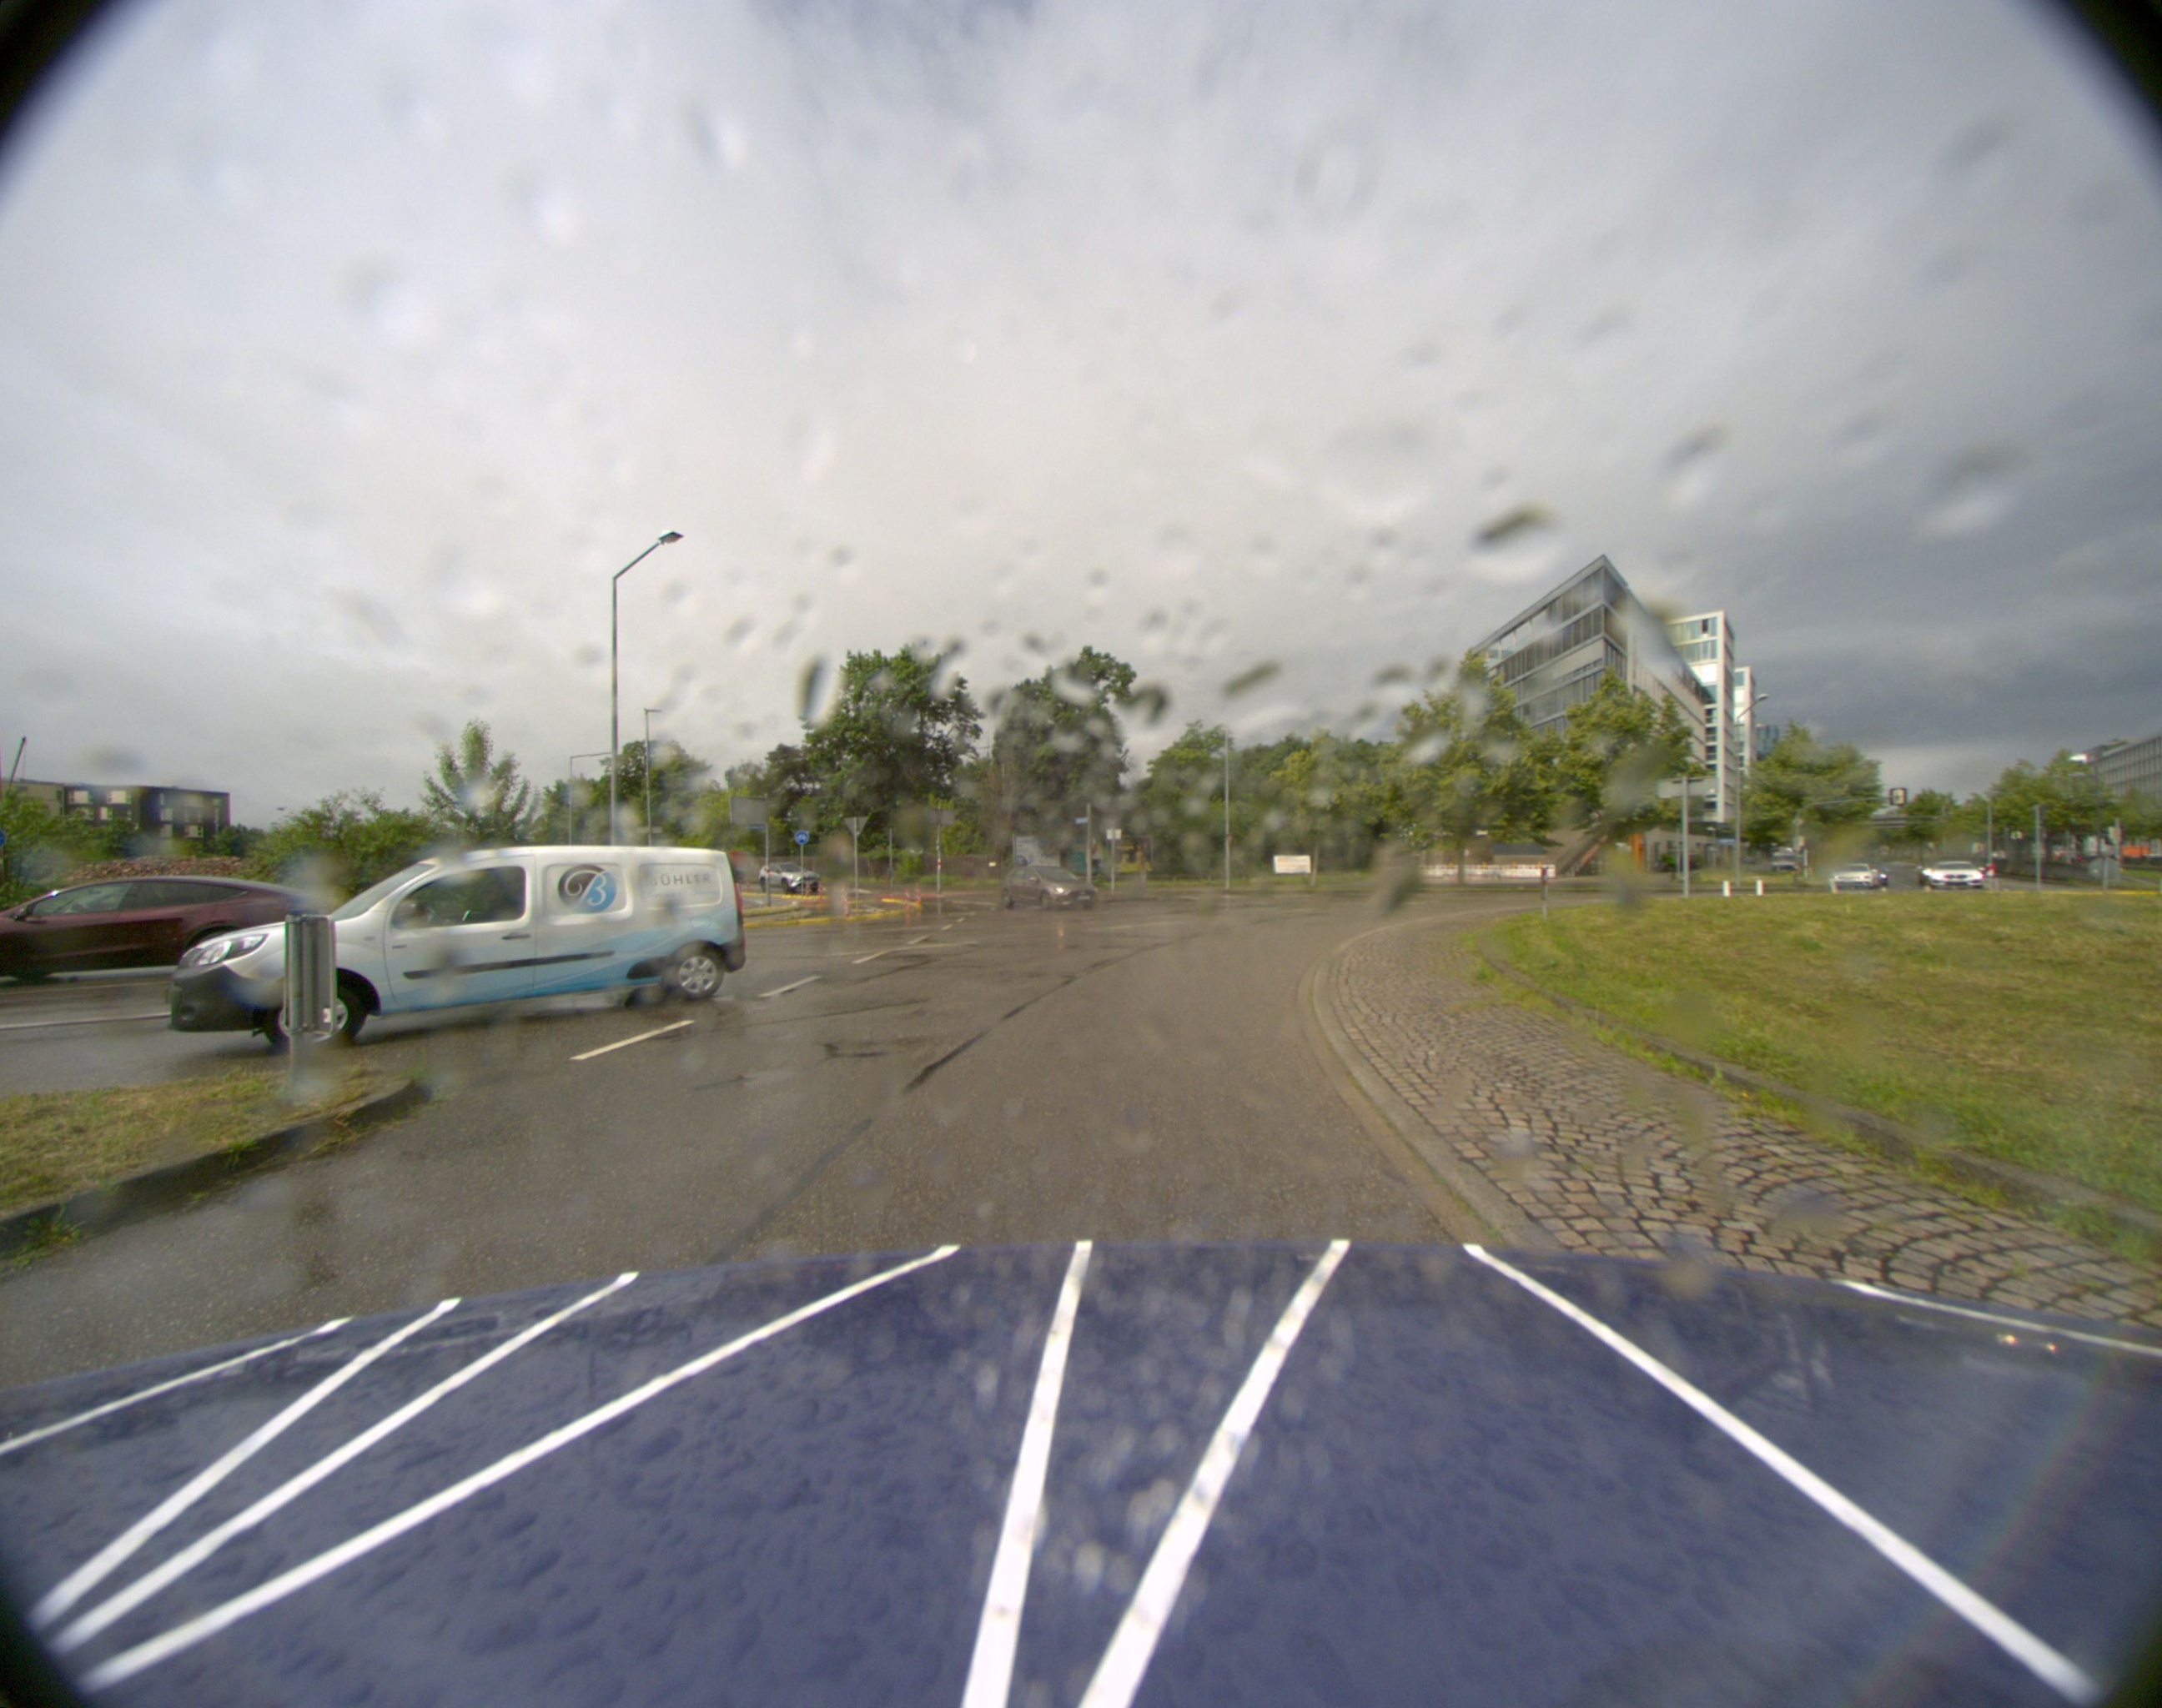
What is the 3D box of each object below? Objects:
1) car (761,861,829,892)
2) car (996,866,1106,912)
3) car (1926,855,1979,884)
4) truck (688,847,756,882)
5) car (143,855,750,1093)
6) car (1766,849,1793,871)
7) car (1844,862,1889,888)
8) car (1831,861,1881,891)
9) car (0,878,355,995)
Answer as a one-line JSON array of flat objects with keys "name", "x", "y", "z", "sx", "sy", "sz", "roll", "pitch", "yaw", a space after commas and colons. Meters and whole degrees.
[{"name": "car", "x": -16.151, "y": 1.231, "z": 42.806, "sx": 1.879, "sy": 1.653, "sz": 4.470, "roll": -2, "pitch": 1, "yaw": -45}, {"name": "car", "x": -1.113, "y": 1.152, "z": 26.056, "sx": 1.738, "sy": 1.405, "sz": 4.117, "roll": -2, "pitch": 0, "yaw": -36}, {"name": "car", "x": 47.468, "y": 0.831, "z": 41.438, "sx": 3.912, "sy": 1.499, "sz": 1.722, "roll": 0, "pitch": 0, "yaw": -43}, {"name": "truck", "x": -29.426, "y": 0.873, "z": 62.172, "sx": 6.926, "sy": 2.710, "sz": 2.467, "roll": -1, "pitch": 0, "yaw": 41}, {"name": "car", "x": -6.226, "y": 0.935, "z": 8.076, "sx": 1.862, "sy": 1.752, "sz": 4.561, "roll": -1, "pitch": 0, "yaw": 43}, {"name": "car", "x": 78.323, "y": 0.686, "z": 85.189, "sx": 4.481, "sy": 2.345, "sz": 1.861, "roll": 2, "pitch": -2, "yaw": -43}, {"name": "car", "x": 52.285, "y": 1.409, "z": 50.546, "sx": 4.481, "sy": 1.662, "sz": 1.861, "roll": 1, "pitch": -2, "yaw": -41}, {"name": "car", "x": 45.480, "y": 1.292, "z": 44.557, "sx": 4.481, "sy": 1.662, "sz": 1.861, "roll": 2, "pitch": -2, "yaw": -42}, {"name": "car", "x": -15.335, "y": 1.265, "z": 12.535, "sx": 4.506, "sy": 1.647, "sz": 1.871, "roll": 0, "pitch": -1, "yaw": -28}]
